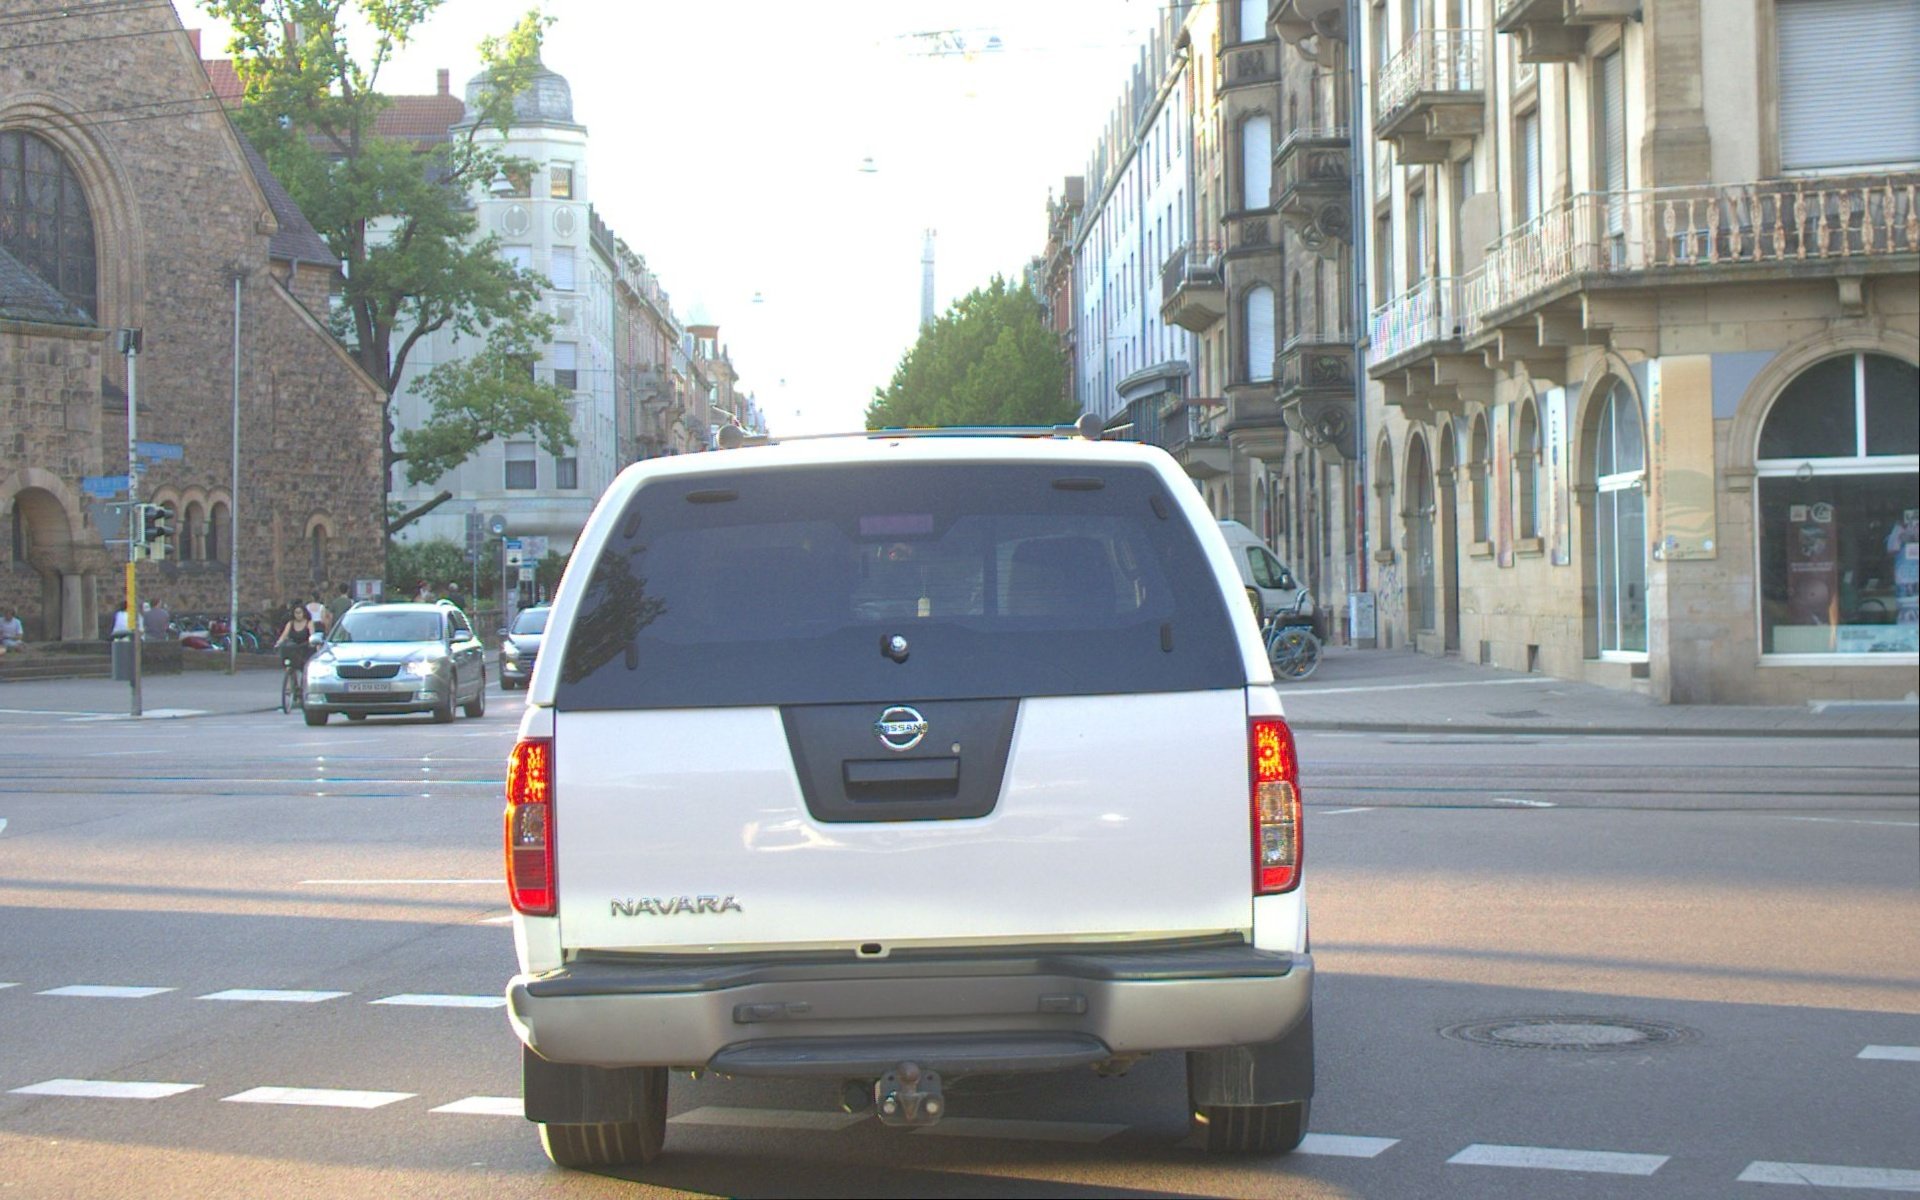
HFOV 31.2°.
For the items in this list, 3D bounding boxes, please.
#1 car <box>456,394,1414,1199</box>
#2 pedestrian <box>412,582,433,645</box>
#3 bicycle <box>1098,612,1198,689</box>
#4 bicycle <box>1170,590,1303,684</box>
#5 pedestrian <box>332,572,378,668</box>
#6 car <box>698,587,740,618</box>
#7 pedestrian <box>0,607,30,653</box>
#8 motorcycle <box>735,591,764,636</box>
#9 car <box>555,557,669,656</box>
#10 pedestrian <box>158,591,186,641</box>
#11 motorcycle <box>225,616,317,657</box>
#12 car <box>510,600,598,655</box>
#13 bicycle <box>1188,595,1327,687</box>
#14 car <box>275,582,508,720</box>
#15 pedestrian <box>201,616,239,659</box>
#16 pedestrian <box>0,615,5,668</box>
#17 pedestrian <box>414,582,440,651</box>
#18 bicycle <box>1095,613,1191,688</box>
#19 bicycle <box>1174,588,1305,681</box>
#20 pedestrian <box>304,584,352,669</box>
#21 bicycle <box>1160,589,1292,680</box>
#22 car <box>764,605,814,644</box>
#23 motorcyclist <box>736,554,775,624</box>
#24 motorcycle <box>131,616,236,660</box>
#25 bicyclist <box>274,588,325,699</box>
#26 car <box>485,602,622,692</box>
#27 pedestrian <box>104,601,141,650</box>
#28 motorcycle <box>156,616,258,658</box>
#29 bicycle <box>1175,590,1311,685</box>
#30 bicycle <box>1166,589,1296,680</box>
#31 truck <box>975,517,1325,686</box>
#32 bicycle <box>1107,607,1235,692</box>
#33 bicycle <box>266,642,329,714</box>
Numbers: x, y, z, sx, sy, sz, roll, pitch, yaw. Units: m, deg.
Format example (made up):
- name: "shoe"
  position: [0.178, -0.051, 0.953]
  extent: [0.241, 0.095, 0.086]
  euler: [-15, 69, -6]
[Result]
- name: "car"
  position: [-0.050, 0.482, 9.160]
  extent: [1.993, 1.803, 4.000]
  euler: [0, 0, 0]
- name: "pedestrian"
  position: [-14.550, 0.359, 93.090]
  extent: [0.560, 1.690, 0.645]
  euler: [0, 0, -8]
- name: "bicycle"
  position: [2.764, 0.743, 50.496]
  extent: [1.371, 1.021, 0.317]
  euler: [-4, 0, -2]
- name: "bicycle"
  position: [4.023, 0.543, 50.074]
  extent: [1.817, 1.233, 0.478]
  euler: [-4, 0, -2]
- name: "pedestrian"
  position: [-11.983, 0.390, 68.082]
  extent: [0.812, 1.894, 0.666]
  euler: [0, 0, -2]
- name: "car"
  position: [-11.978, 0.110, 170.877]
  extent: [1.858, 1.524, 4.000]
  euler: [0, 0, -1]
- name: "pedestrian"
  position: [-19.937, 0.631, 72.449]
  extent: [0.551, 0.957, 0.710]
  euler: [0, 0, -6]
- name: "motorcycle"
  position: [-4.963, 0.320, 81.048]
  extent: [0.599, 1.040, 1.946]
  euler: [0, 0, -1]
- name: "car"
  position: [-7.417, 0.150, 73.715]
  extent: [1.993, 2.007, 4.950]
  euler: [-1, 0, -1]
- name: "pedestrian"
  position: [-15.297, 0.306, 66.742]
  extent: [0.521, 0.957, 0.479]
  euler: [0, 0, -15]
- name: "motorcycle"
  position: [-16.525, 0.867, 82.456]
  extent: [2.167, 0.984, 0.593]
  euler: [0, 0, 20]
- name: "car"
  position: [-10.600, 0.716, 89.957]
  extent: [1.858, 1.393, 4.000]
  euler: [0, 0, -1]
- name: "bicycle"
  position: [4.187, 0.575, 48.420]
  extent: [1.817, 1.146, 0.636]
  euler: [-4, 0, -2]
- name: "car"
  position: [-6.954, 0.590, 42.548]
  extent: [1.993, 1.552, 4.768]
  euler: [-2, 0, 1]
- name: "pedestrian"
  position: [-16.810, 0.850, 78.117]
  extent: [0.552, 0.957, 0.709]
  euler: [0, 0, 21]
- name: "pedestrian"
  position: [-17.684, 0.758, 62.323]
  extent: [0.478, 0.957, 0.522]
  euler: [0, 0, 30]
- name: "pedestrian"
  position: [-14.298, 0.438, 92.248]
  extent: [0.642, 1.849, 0.562]
  euler: [0, 0, -14]
- name: "bicycle"
  position: [2.715, 0.747, 51.044]
  extent: [1.333, 1.021, 0.317]
  euler: [-4, 0, -2]
- name: "bicycle"
  position: [4.124, 0.512, 50.799]
  extent: [1.817, 1.233, 0.412]
  euler: [-4, 0, -2]
- name: "pedestrian"
  position: [-12.510, 0.524, 68.071]
  extent: [0.812, 1.664, 0.859]
  euler: [0, 0, -2]
- name: "bicycle"
  position: [4.008, 0.520, 51.937]
  extent: [1.855, 1.233, 0.531]
  euler: [-4, 0, -2]
- name: "car"
  position: [-6.760, 0.966, 136.240]
  extent: [1.858, 1.524, 4.000]
  euler: [0, 0, -1]
- name: "motorcyclist"
  position: [-4.819, -0.263, 81.084]
  extent: [0.874, 1.639, 0.963]
  euler: [0, 0, -1]
- name: "motorcycle"
  position: [-17.646, 0.852, 78.153]
  extent: [2.243, 0.984, 0.708]
  euler: [0, 0, -5]
- name: "bicyclist"
  position: [-9.882, 0.644, 51.477]
  extent: [0.599, 1.639, 0.963]
  euler: [0, 0, -1]
- name: "car"
  position: [-7.262, 0.824, 61.735]
  extent: [1.993, 1.472, 4.140]
  euler: [-2, 0, -1]
- name: "pedestrian"
  position: [-16.289, 0.499, 66.846]
  extent: [0.522, 0.957, 0.479]
  euler: [0, 0, 18]
- name: "motorcycle"
  position: [-17.550, 0.860, 80.179]
  extent: [2.243, 0.984, 0.708]
  euler: [0, 0, -5]
- name: "bicycle"
  position: [4.062, 0.536, 49.362]
  extent: [1.817, 1.233, 0.488]
  euler: [-4, 0, -2]
- name: "bicycle"
  position: [4.052, 0.515, 51.405]
  extent: [1.817, 1.233, 0.410]
  euler: [-4, 0, -2]
- name: "truck"
  position: [3.094, 0.007, 54.994]
  extent: [5.658, 2.556, 2.286]
  euler: [-1, 0, -43]
- name: "bicycle"
  position: [2.995, 0.707, 48.899]
  extent: [1.726, 1.080, 0.317]
  euler: [-4, 0, -2]
- name: "bicycle"
  position: [-9.894, 1.156, 51.379]
  extent: [0.599, 1.040, 1.946]
  euler: [0, 0, -1]
